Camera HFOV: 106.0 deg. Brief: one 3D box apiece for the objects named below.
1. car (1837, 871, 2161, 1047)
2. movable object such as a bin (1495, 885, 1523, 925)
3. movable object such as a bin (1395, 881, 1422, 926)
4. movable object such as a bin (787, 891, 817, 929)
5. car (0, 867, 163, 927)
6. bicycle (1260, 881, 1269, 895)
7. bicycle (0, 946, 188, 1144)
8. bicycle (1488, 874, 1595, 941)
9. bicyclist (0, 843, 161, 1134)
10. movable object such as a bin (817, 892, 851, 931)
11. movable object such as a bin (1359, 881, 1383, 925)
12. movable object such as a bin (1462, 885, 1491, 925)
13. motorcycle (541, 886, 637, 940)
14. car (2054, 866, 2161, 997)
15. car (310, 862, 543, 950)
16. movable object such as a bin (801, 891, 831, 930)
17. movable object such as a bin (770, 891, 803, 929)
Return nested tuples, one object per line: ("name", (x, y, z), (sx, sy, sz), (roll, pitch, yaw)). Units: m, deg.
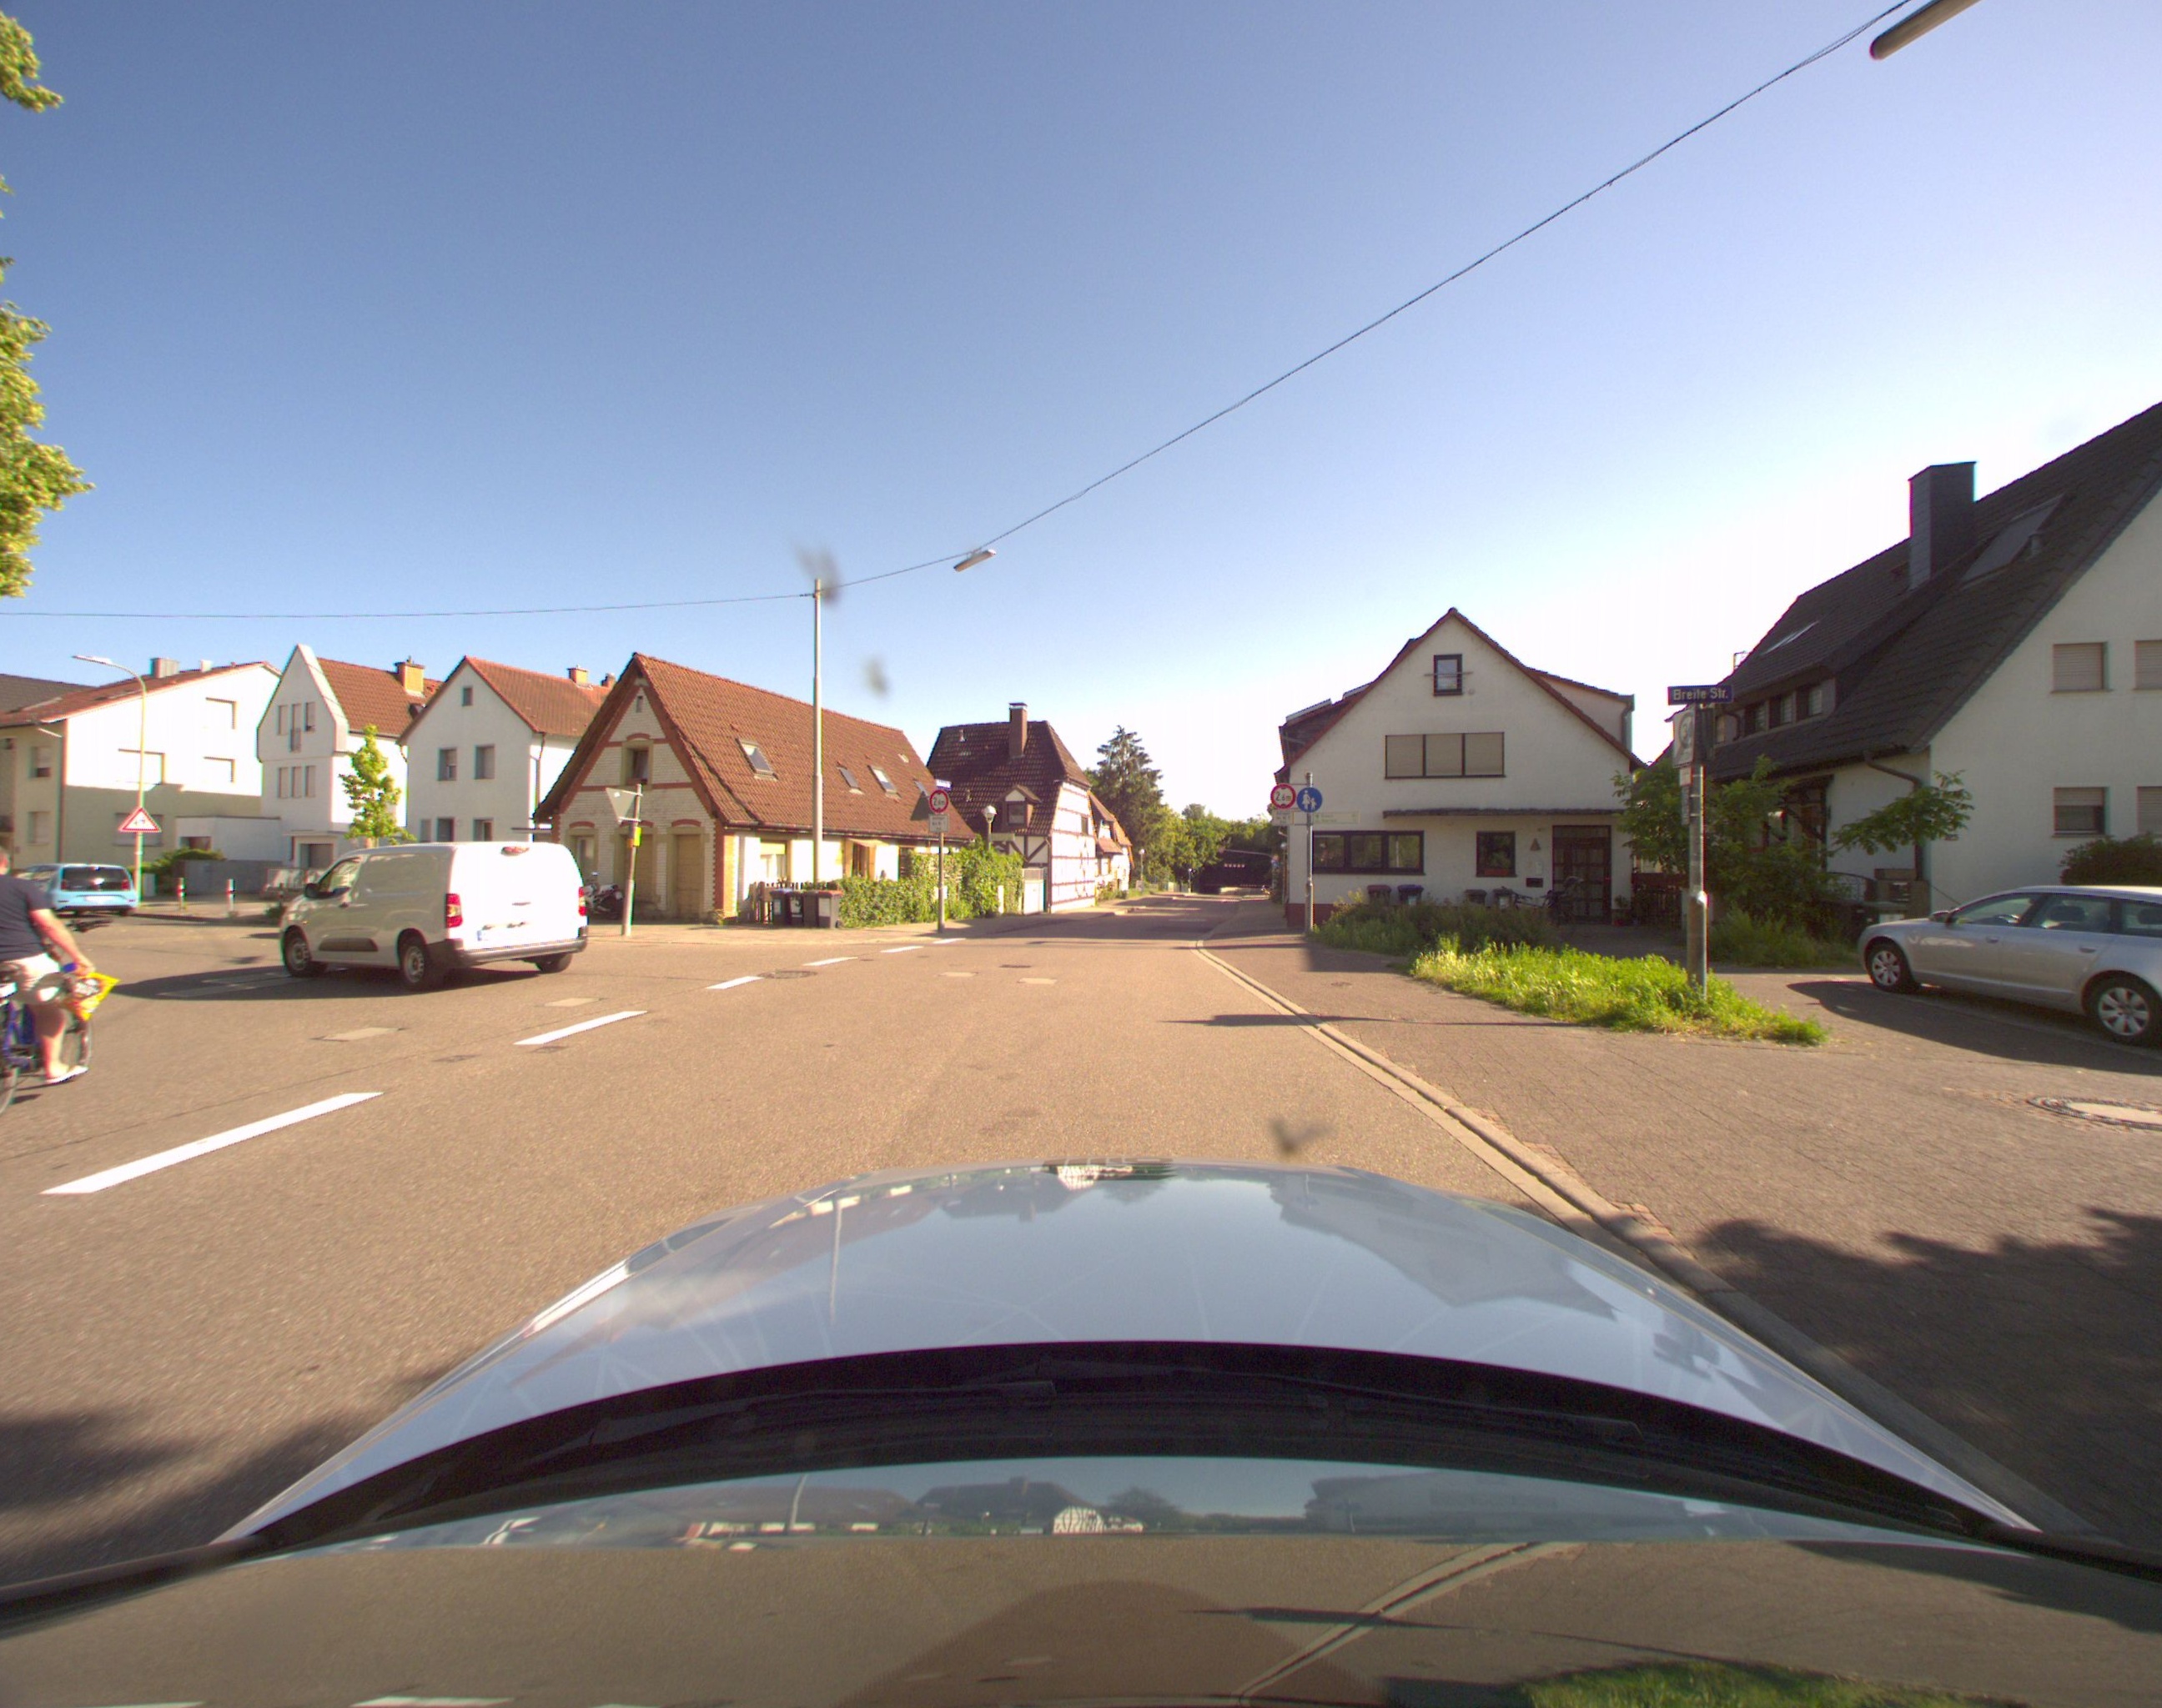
("car", (10.994, 0.994, 8.757), (1.980, 1.421, 4.818), (0, 1, 11))
("movable object such as a bin", (10.920, 1.287, 20.800), (0.494, 0.977, 0.596), (0, -1, 11))
("movable object such as a bin", (8.482, 1.278, 21.135), (0.523, 1.123, 0.750), (0, -1, 11))
("movable object such as a bin", (-7.056, 1.418, 20.626), (0.409, 0.906, 0.628), (0, 0, 20))
("car", (-28.570, 1.166, 23.028), (4.186, 1.549, 1.955), (0, -1, 18))
("bicycle", (16.265, 3.011, 72.073), (0.684, 1.157, 1.544), (-5, -2, 11))
("bicycle", (-7.057, 1.245, 5.625), (0.781, 0.940, 2.264), (-6, 3, -39))
("bicycle", (9.209, 1.053, 16.349), (1.726, 1.284, 0.702), (0, -1, 9))
("bicyclist", (-7.005, 0.861, 5.510), (0.771, 1.788, 0.843), (-6, 3, -39))
("movable object such as a bin", (-6.163, 1.418, 20.322), (0.551, 0.924, 0.628), (0, -1, 19))
("movable object such as a bin", (7.624, 1.283, 21.420), (0.477, 1.123, 0.750), (0, -1, 11))
("movable object such as a bin", (10.157, 1.293, 20.927), (0.526, 0.983, 0.671), (0, -1, 11))
("motorcycle", (-12.836, 1.512, 21.239), (2.223, 1.295, 0.887), (-1, 2, 20))
("car", (13.512, 0.973, 8.867), (1.694, 1.517, 4.425), (1, 1, 19))
("car", (-14.216, 1.059, 17.731), (4.186, 1.725, 1.955), (0, -1, 19))
("movable object such as a bin", (-6.657, 1.418, 20.476), (0.407, 0.924, 0.628), (0, -1, 20))
("movable object such as a bin", (-7.509, 1.411, 20.783), (0.503, 0.924, 0.628), (0, -1, 19))
